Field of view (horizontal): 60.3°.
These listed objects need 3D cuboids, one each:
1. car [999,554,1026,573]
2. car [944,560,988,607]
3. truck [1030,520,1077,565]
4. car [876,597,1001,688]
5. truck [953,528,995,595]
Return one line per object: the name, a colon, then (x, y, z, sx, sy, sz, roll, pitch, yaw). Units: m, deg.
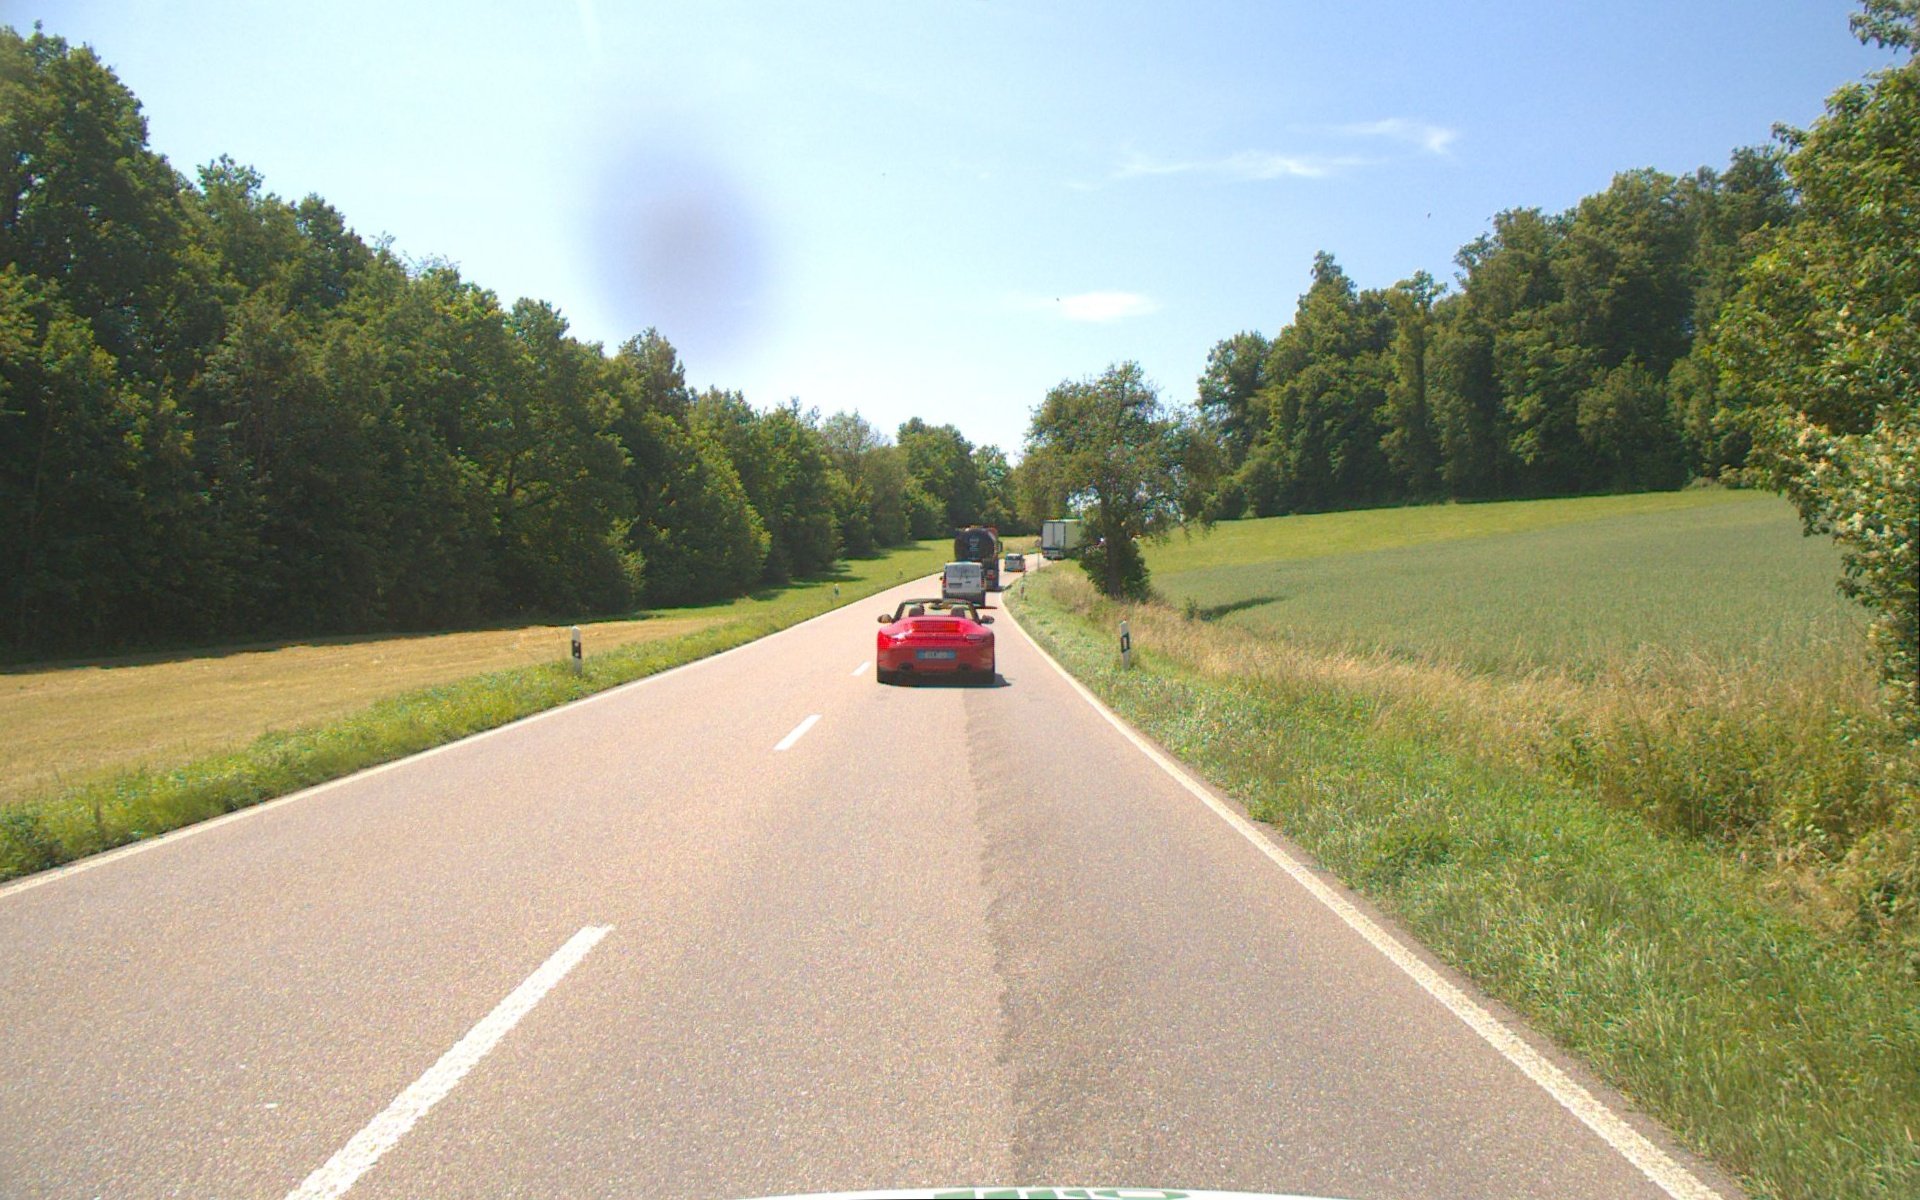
car: (4.644, -3.205, 145.951, 1.792, 1.539, 4.196, 0, 3, 9)
car: (0.293, -0.741, 70.961, 1.643, 1.933, 4.012, 0, 2, 4)
truck: (10.226, -6.350, 180.009, 3.645, 4.740, 12.045, 0, 3, 10)
car: (-0.334, 0.623, 26.459, 1.844, 1.277, 4.009, 0, 1, 0)
truck: (0.842, -2.436, 106.877, 2.355, 4.120, 12.548, 0, 1, -1)
